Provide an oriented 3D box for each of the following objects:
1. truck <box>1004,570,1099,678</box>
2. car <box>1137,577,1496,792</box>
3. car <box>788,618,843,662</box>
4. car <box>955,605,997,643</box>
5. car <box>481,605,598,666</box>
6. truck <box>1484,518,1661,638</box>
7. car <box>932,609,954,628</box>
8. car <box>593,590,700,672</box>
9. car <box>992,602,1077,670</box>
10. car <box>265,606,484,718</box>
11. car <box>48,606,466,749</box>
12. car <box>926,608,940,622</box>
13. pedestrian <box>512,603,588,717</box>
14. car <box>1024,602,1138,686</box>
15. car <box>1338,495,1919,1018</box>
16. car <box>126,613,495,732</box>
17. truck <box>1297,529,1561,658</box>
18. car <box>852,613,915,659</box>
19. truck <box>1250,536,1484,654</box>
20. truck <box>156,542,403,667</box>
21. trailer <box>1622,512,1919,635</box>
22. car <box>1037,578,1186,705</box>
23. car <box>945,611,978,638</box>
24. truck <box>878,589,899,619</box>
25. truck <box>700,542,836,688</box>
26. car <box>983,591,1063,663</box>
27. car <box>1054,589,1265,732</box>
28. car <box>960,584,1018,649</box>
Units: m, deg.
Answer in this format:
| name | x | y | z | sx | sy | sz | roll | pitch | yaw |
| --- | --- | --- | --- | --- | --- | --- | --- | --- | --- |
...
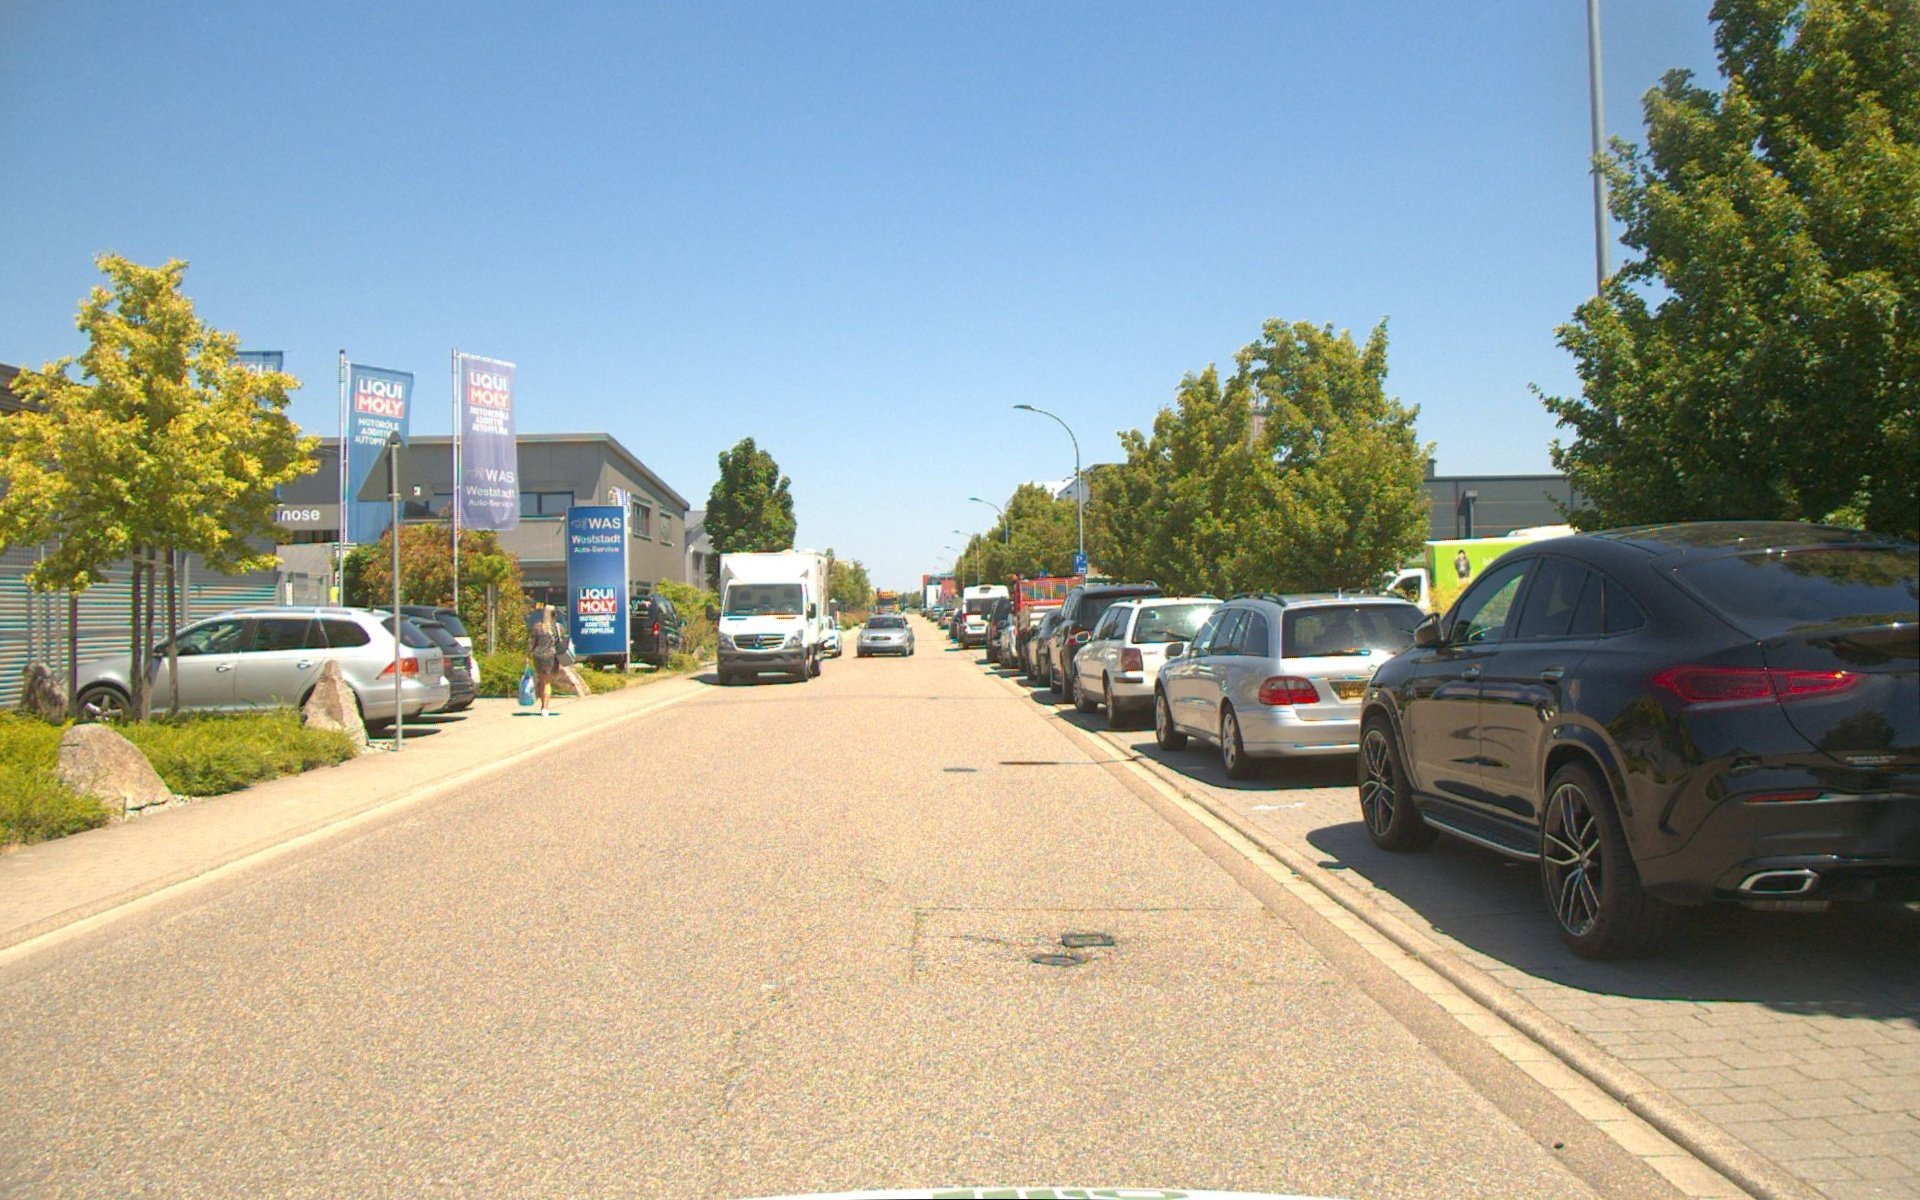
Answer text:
| name | x | y | z | sx | sy | sz | roll | pitch | yaw |
| --- | --- | --- | --- | --- | --- | --- | --- | --- | --- |
| truck | 2.029 | 0.532 | 37.760 | 1.645 | 2.219 | 4.388 | -3 | -1 | -2 |
| car | 2.933 | 0.636 | 14.767 | 1.769 | 1.508 | 4.769 | -3 | 0 | -5 |
| car | -5.112 | 1.385 | 58.995 | 1.695 | 1.484 | 4.489 | -1 | -1 | -2 |
| car | 0.801 | 1.264 | 86.598 | 1.953 | 1.857 | 4.352 | -2 | -1 | -2 |
| car | -10.656 | 0.884 | 42.264 | 1.892 | 1.441 | 4.767 | 0 | -1 | -2 |
| truck | 21.087 | -0.703 | 57.130 | 4.960 | 3.943 | 2.803 | -1 | -1 | -2 |
| car | -1.374 | 1.526 | 135.597 | 1.683 | 1.475 | 3.644 | -2 | 0 | -2 |
| car | -8.090 | 0.787 | 43.117 | 1.953 | 1.991 | 5.216 | -1 | -1 | -2 |
| car | 1.862 | 0.909 | 42.251 | 1.704 | 1.557 | 3.997 | -3 | -1 | -3 |
| car | -8.593 | 0.885 | 24.425 | 2.686 | 1.544 | 1.534 | -1 | -1 | -3 |
| car | -8.266 | 0.885 | 19.763 | 4.177 | 1.544 | 1.865 | -1 | -1 | -3 |
| car | -2.999 | 1.671 | 182.835 | 1.553 | 1.434 | 3.498 | -1 | 0 | -2 |
| pedestrian | -5.890 | 0.849 | 23.775 | 0.881 | 1.602 | 0.785 | 1 | 0 | -1 |
| car | 2.259 | 0.809 | 31.977 | 1.664 | 1.407 | 4.835 | -3 | -1 | -1 |
| car | 3.361 | 0.501 | 7.906 | 1.910 | 1.730 | 4.544 | -3 | 0 | -1 |
| car | -8.668 | 0.947 | 22.335 | 4.221 | 1.457 | 1.846 | -1 | -1 | -1 |
| truck | 11.570 | -0.152 | 41.071 | 5.787 | 2.922 | 2.304 | -2 | -1 | -5 |
| car | -2.633 | 1.235 | 57.609 | 1.746 | 1.447 | 4.415 | -3 | -1 | 2 |
| truck | 11.054 | -0.133 | 45.269 | 5.705 | 2.964 | 2.413 | -2 | -1 | -3 |
| truck | -21.065 | 0.143 | 51.063 | 7.882 | 3.619 | 2.583 | 0 | 0 | 27 |
| trailer | 29.731 | -0.903 | 57.381 | 12.363 | 3.943 | 2.803 | -1 | -1 | -2 |
| car | 2.325 | 0.605 | 26.562 | 1.774 | 1.755 | 4.772 | -3 | 0 | -1 |
| car | 0.136 | 1.448 | 98.922 | 1.673 | 1.531 | 4.707 | -2 | -1 | 3 |
| truck | -8.828 | 0.514 | 205.917 | 2.399 | 3.574 | 8.269 | -3 | 0 | -2 |
| truck | -4.226 | 0.348 | 37.573 | 2.314 | 2.910 | 6.413 | -3 | -1 | -1 |
| car | 1.781 | 0.772 | 48.373 | 1.953 | 1.917 | 5.154 | -3 | -1 | -1 |
| car | 2.390 | 0.687 | 21.001 | 1.680 | 1.508 | 4.769 | -3 | 0 | -5 |
| car | 1.177 | 0.694 | 69.573 | 2.221 | 2.541 | 6.151 | -2 | -1 | 0 |
